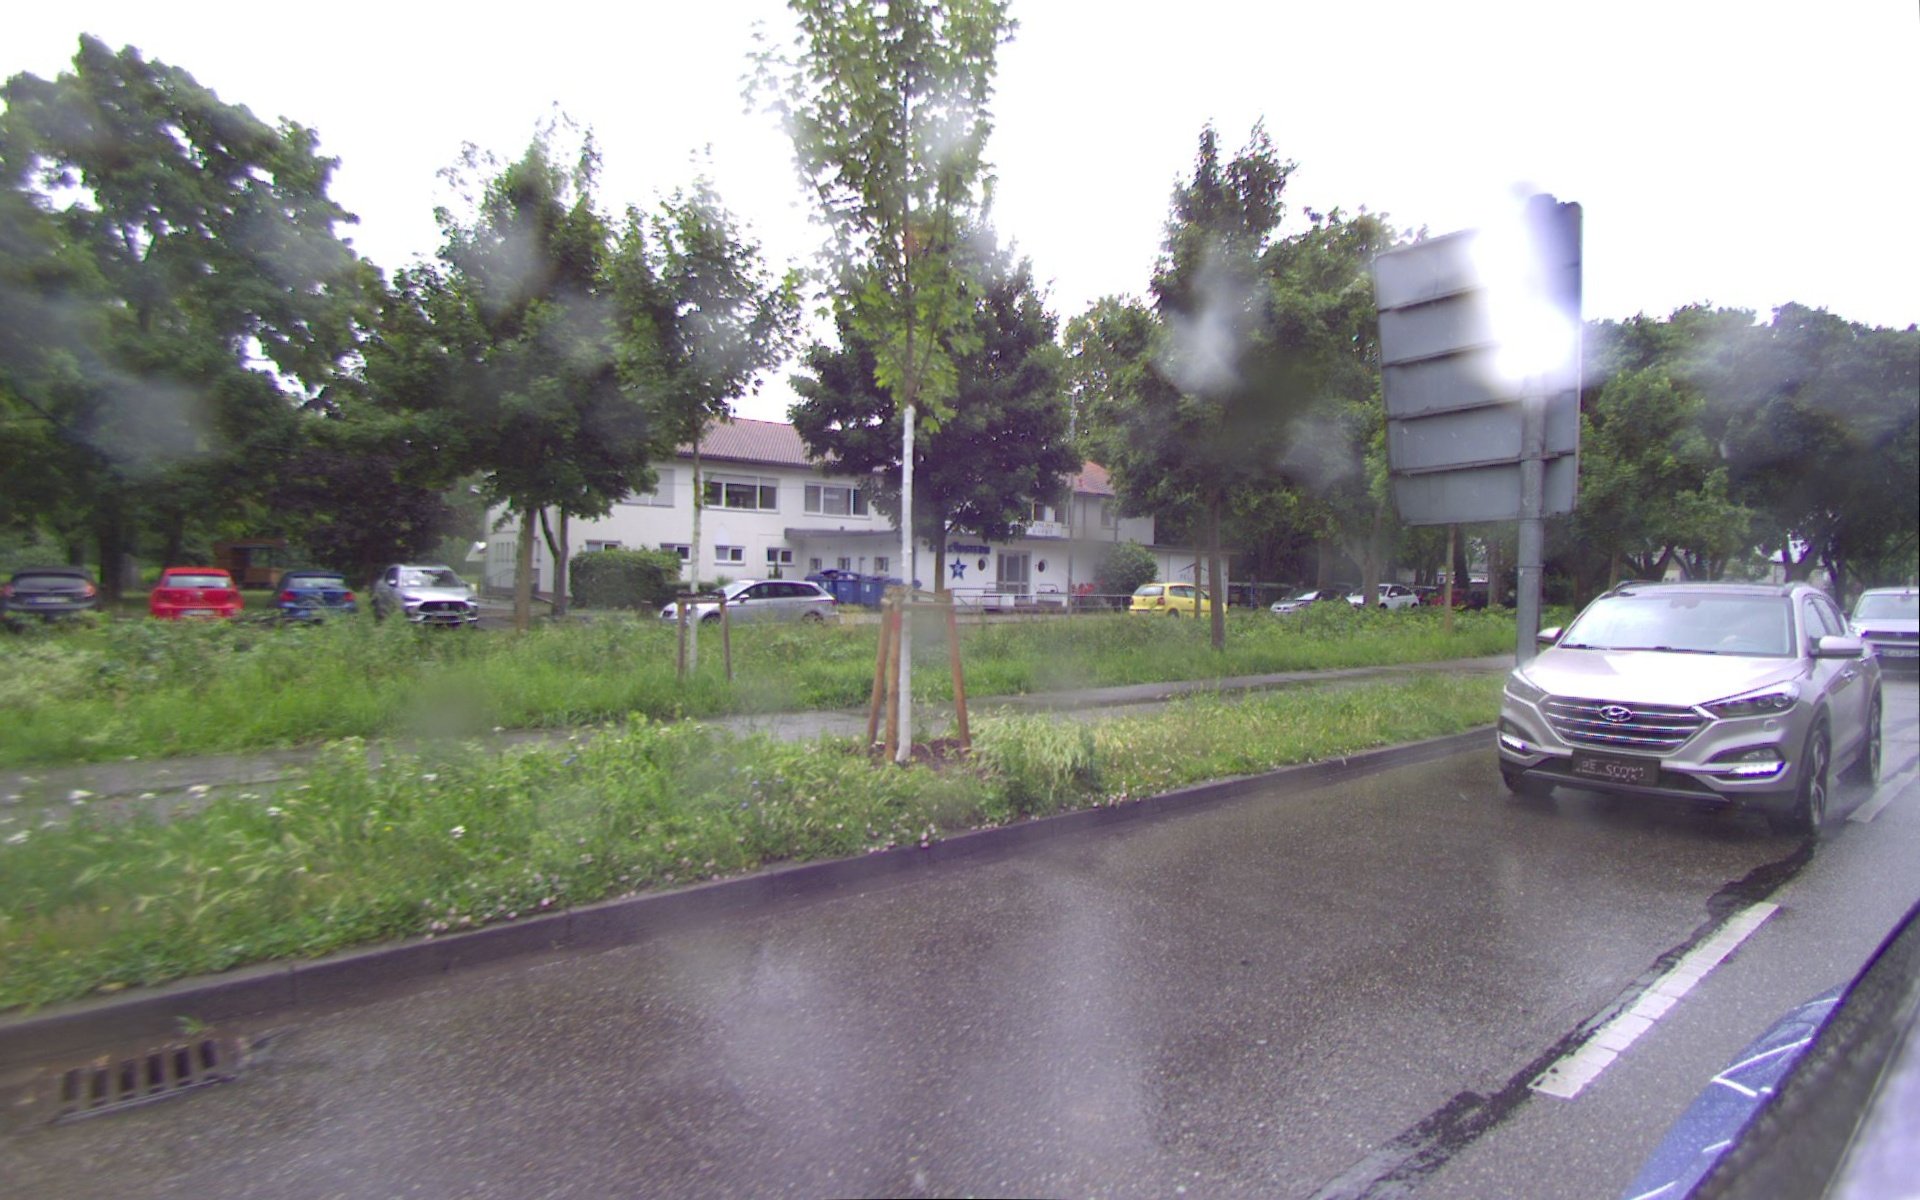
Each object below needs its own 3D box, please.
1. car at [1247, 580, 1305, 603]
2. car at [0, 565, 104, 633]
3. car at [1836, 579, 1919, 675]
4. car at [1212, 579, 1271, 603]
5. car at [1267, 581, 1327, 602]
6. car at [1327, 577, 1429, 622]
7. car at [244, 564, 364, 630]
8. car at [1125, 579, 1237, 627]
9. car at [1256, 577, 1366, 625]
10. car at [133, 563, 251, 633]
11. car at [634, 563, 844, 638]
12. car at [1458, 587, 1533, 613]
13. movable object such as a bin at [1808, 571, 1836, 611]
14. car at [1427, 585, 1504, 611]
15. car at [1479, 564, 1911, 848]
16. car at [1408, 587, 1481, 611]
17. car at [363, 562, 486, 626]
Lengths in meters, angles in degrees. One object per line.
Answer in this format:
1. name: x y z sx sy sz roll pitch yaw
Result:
1. car: 18.631 -0.491 59.598 3.638 1.332 1.574 -1 0 -42
2. car: -20.022 -0.022 22.182 1.835 1.357 4.185 0 0 -41
3. car: 19.728 0.498 20.717 4.481 1.818 1.998 0 0 -40
4. car: 17.095 -0.527 61.385 3.930 1.403 1.586 -1 0 -41
5. car: 27.347 -0.668 82.209 1.865 1.630 4.294 0 0 -37
6. car: 17.607 -0.058 42.557 4.793 1.738 1.997 -1 2 -41
7. car: -16.418 -0.065 25.238 1.912 1.503 4.340 0 0 -41
8. car: 7.532 0.082 34.310 4.002 1.505 1.640 -1 0 -41
9. car: 13.618 0.000 39.114 4.560 1.738 1.997 -1 2 -41
10. car: -18.240 -0.043 23.956 1.912 1.503 4.340 0 0 -41
11. car: -5.263 -0.031 24.422 4.558 1.645 1.999 0 2 -39
12. car: 30.146 -0.001 57.032 3.330 1.369 1.522 -1 0 6
13. movable object such as a bin: 98.048 -1.036 115.090 3.836 4.482 1.558 0 -1 -37
14. car: 30.049 -0.120 60.200 3.681 1.467 1.669 -1 0 1
15. car: 5.873 0.583 7.893 4.123 1.630 1.887 0 1 -42
16. car: 29.864 -0.066 62.433 3.681 1.467 1.669 -1 0 1
17. car: -14.027 -0.140 26.379 1.891 1.522 4.340 0 0 -41
